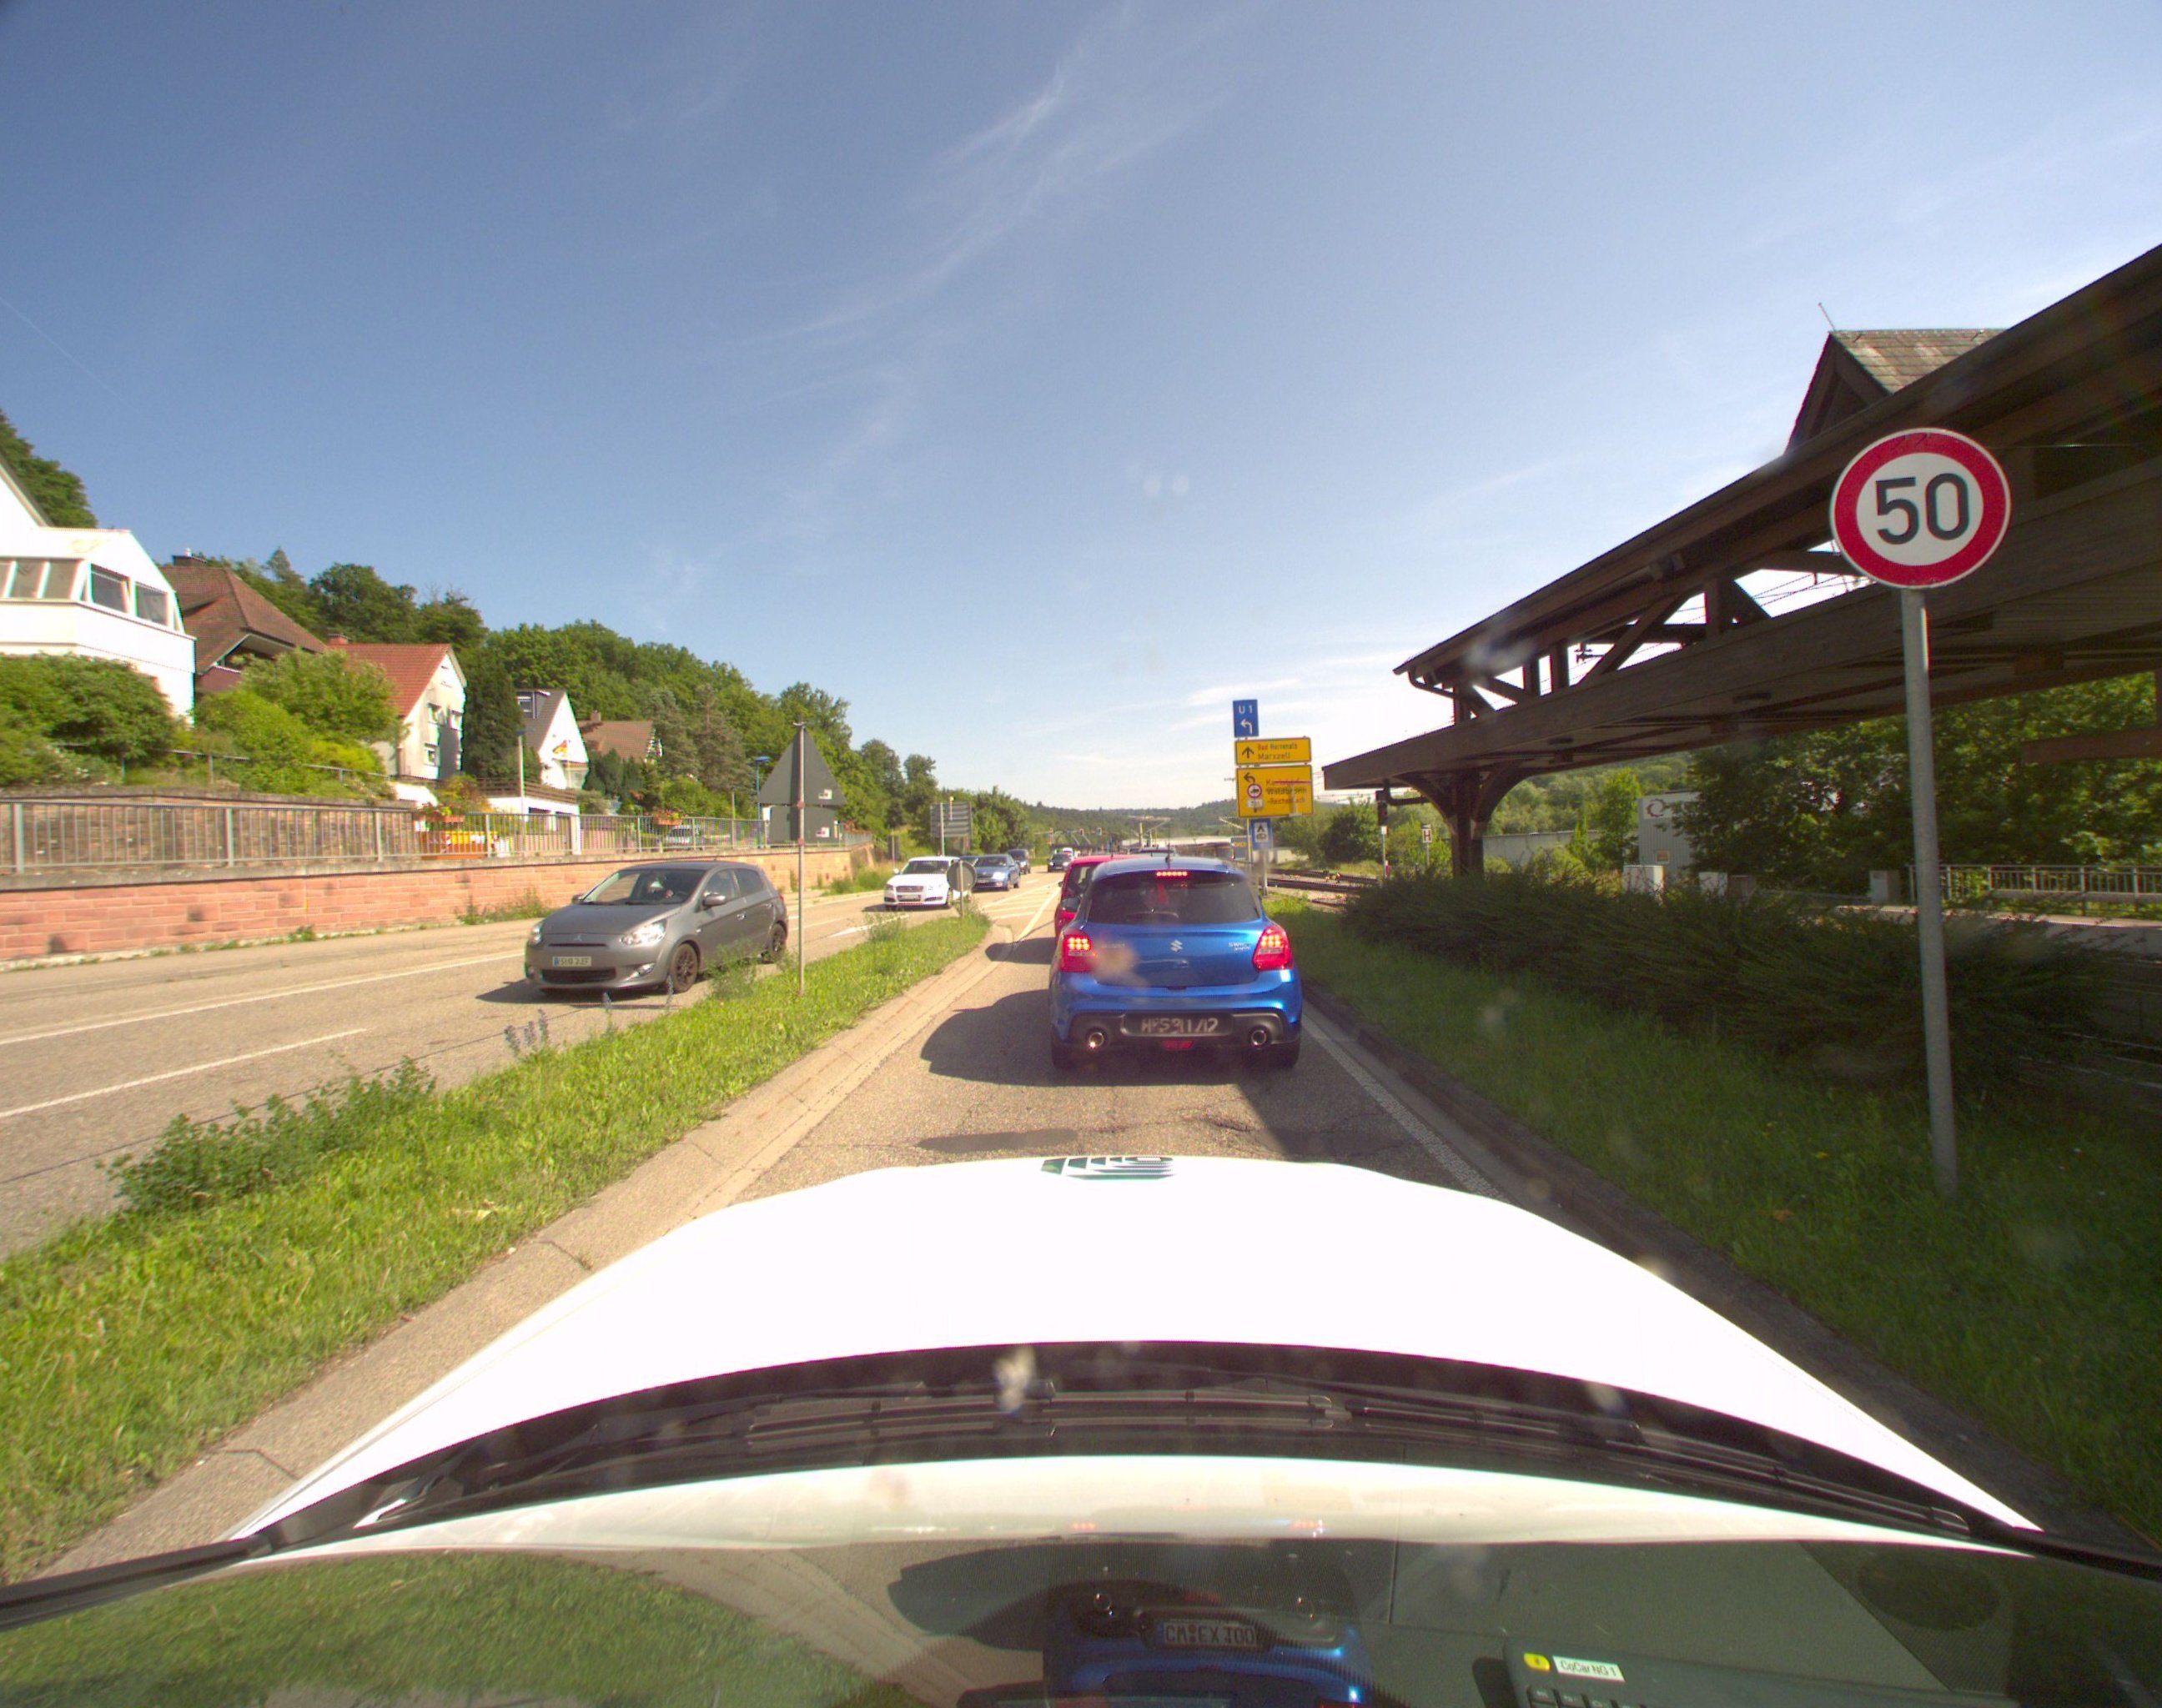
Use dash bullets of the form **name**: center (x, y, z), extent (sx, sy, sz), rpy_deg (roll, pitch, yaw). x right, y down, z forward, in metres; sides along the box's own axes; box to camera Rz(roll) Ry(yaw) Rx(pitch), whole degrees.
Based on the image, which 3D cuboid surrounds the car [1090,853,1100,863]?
- **car**: center (3.124, 0.912, 180.136), extent (1.986, 2.013, 4.002), rpy_deg (0, 1, 2)

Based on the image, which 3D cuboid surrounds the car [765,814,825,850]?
- **car**: center (-16.108, -1.241, 46.119), extent (2.017, 1.920, 4.724), rpy_deg (0, 1, -5)

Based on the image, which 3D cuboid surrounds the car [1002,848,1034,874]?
- **car**: center (-4.488, 0.494, 58.657), extent (1.825, 1.713, 3.814), rpy_deg (1, 1, 3)

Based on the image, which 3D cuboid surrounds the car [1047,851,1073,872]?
- **car**: center (-1.570, 0.543, 62.511), extent (1.826, 1.431, 3.812), rpy_deg (0, 1, 1)

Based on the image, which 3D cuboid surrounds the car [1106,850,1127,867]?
- **car**: center (3.341, 0.426, 75.280), extent (1.824, 1.431, 3.815), rpy_deg (1, 1, 4)

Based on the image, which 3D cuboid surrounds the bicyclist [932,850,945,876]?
- **bicyclist**: center (-8.429, 0.521, 48.164), extent (0.627, 1.507, 0.506), rpy_deg (0, 1, -2)

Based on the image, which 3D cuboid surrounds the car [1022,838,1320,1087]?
- **car**: center (0.610, 0.675, 7.150), extent (1.862, 1.548, 4.001), rpy_deg (-1, 0, 1)

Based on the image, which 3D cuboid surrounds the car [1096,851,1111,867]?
- **car**: center (3.088, 0.633, 112.042), extent (1.986, 2.013, 4.002), rpy_deg (0, 1, 2)

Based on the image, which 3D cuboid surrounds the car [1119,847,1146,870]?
- **car**: center (4.001, 0.317, 63.343), extent (1.985, 1.736, 4.004), rpy_deg (1, 0, 3)

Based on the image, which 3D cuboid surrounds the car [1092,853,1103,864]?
- **car**: center (3.235, 0.818, 157.113), extent (1.986, 2.013, 4.002), rpy_deg (0, 1, 2)

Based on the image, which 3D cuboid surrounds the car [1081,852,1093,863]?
- **car**: center (0.997, 0.554, 140.311), extent (1.986, 1.783, 4.002), rpy_deg (0, 0, 2)

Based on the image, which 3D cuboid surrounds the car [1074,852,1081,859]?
- **car**: center (-1.180, 0.429, 256.286), extent (1.986, 2.144, 4.722), rpy_deg (0, 0, 2)

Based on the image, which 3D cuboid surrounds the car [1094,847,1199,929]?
- **car**: center (1.405, 0.643, 18.077), extent (1.985, 1.531, 4.606), rpy_deg (-2, 0, 3)

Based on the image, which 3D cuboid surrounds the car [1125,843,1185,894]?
- **car**: center (2.595, 0.457, 29.271), extent (1.985, 1.686, 4.501), rpy_deg (1, 0, 3)

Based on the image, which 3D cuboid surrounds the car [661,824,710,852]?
- **car**: center (-24.466, -0.979, 50.492), extent (1.898, 1.629, 3.981), rpy_deg (-1, 0, -14)

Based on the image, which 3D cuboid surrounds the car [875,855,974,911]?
- **car**: center (-4.307, 0.750, 22.996), extent (1.825, 1.369, 3.953), rpy_deg (0, 1, 3)

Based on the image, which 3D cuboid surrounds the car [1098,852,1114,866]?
- **car**: center (3.053, 0.592, 98.247), extent (1.824, 1.493, 3.815), rpy_deg (1, 1, 4)

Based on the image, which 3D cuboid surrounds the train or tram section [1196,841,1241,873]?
- **train or tram section**: center (15.585, 0.294, 93.534), extent (2.846, 3.365, 14.353), rpy_deg (-1, 0, 0)

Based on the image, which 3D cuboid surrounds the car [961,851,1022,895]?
- **car**: center (-3.529, 0.714, 32.830), extent (1.825, 1.468, 3.815), rpy_deg (1, 2, 3)

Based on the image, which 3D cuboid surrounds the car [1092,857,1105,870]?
- **car**: center (2.795, 1.464, 130.257), extent (1.986, 2.013, 4.002), rpy_deg (0, 1, 2)

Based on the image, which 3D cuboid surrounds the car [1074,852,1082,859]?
- **car**: center (-0.884, 0.445, 232.750), extent (1.990, 1.816, 3.994), rpy_deg (0, 1, -4)

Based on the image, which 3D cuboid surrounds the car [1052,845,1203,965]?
- **car**: center (0.731, 0.671, 12.726), extent (1.985, 1.571, 4.004), rpy_deg (0, 0, 3)

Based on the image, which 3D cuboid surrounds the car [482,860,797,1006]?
- **car**: center (-5.147, 0.817, 10.167), extent (1.665, 1.441, 3.843), rpy_deg (-1, 0, 3)
